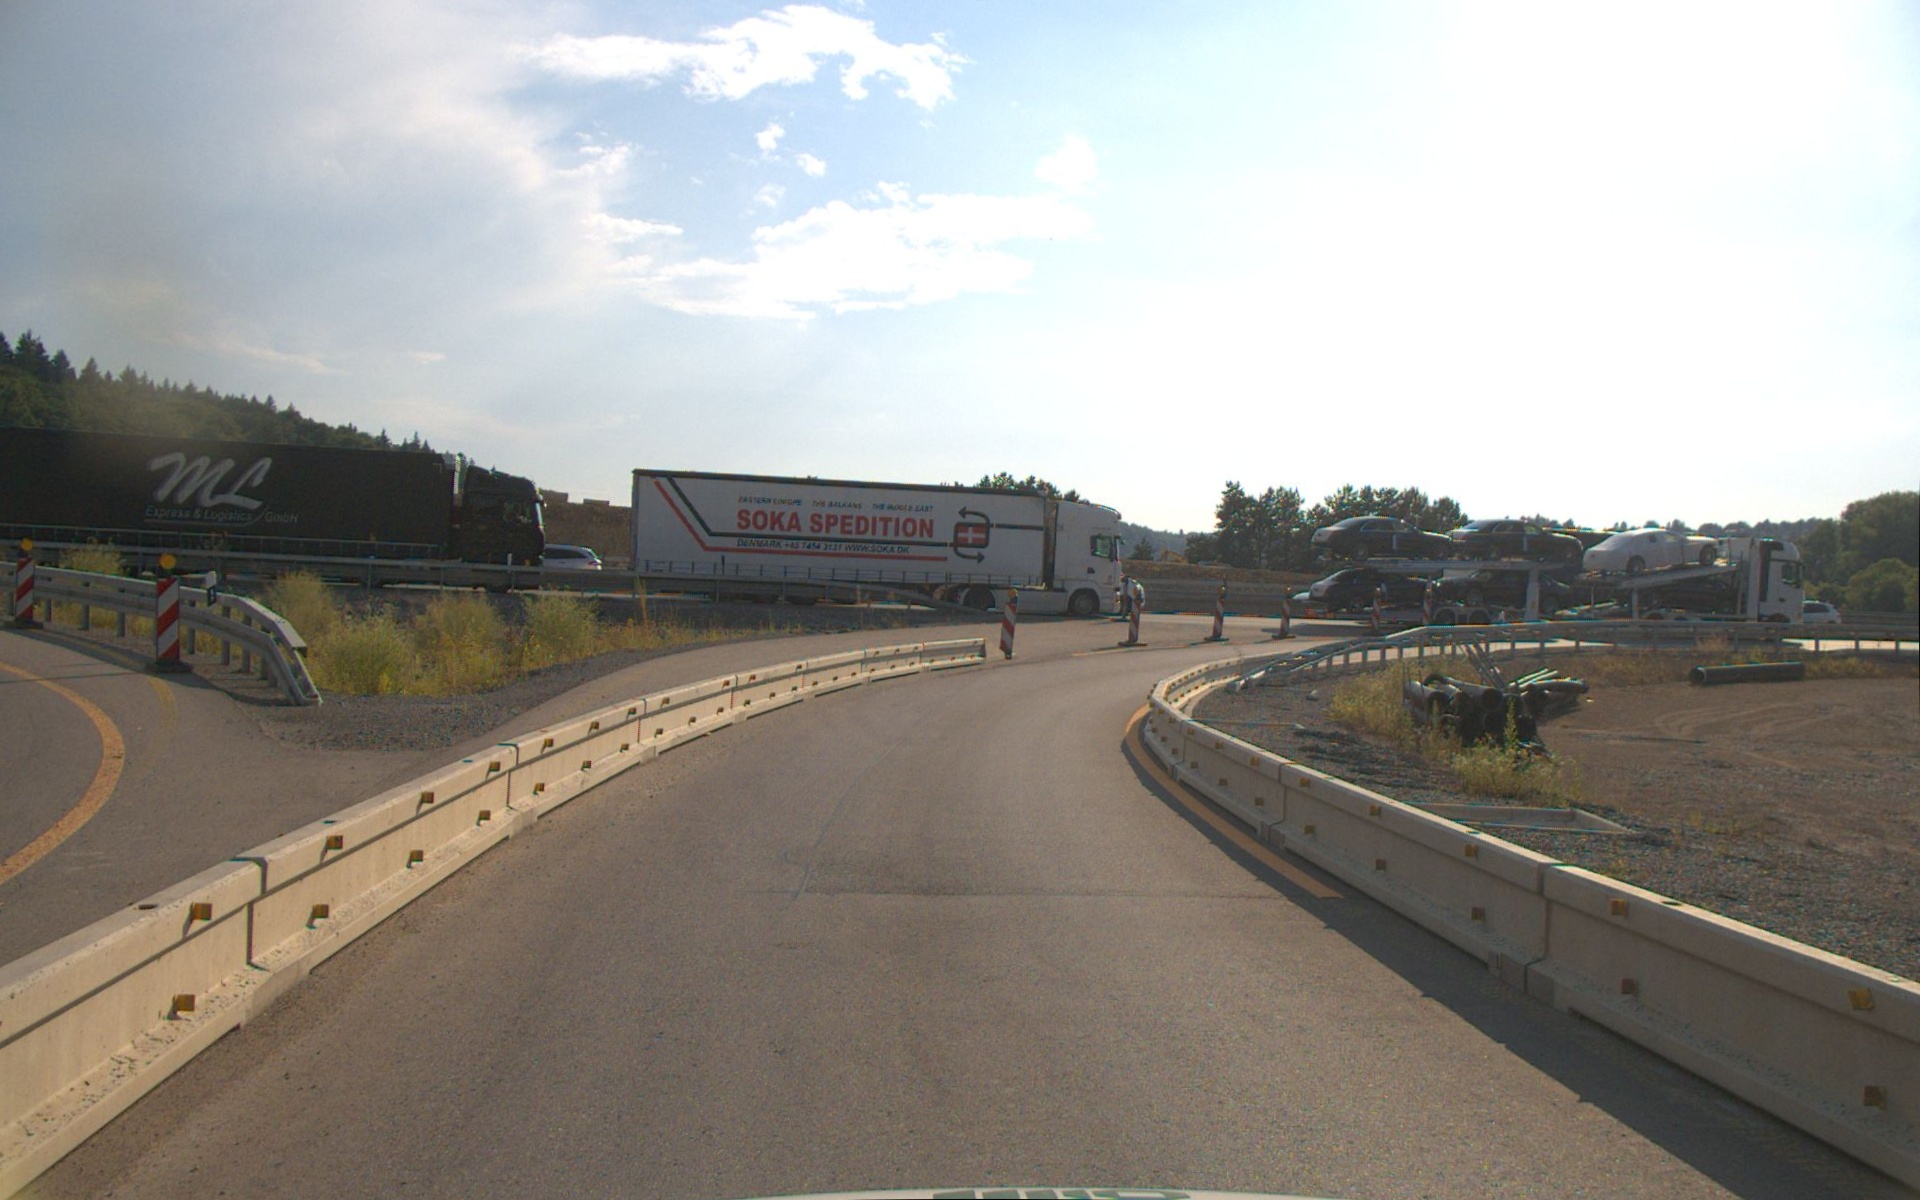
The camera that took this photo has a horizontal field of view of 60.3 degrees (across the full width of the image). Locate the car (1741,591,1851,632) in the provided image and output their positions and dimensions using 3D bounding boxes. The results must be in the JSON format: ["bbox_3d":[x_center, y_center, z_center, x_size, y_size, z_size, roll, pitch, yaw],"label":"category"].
[{"bbox_3d":[36.425,0.493,72.060,4.152,1.526,1.657,2,3,-14],"label":"car"}]

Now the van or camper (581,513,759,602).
[{"bbox_3d":[-9.885,-1.433,56.330,5.783,2.665,1.994,3,1,-14],"label":"van or camper"}]

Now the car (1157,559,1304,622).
[{"bbox_3d":[9.958,-0.349,61.058,4.879,2.015,2.029,2,3,-14],"label":"car"}]

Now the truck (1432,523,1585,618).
[{"bbox_3d":[23.992,-1.267,72.457,5.574,3.792,2.995,3,-1,-14],"label":"truck"}]

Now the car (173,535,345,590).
[{"bbox_3d":[-23.089,-1.258,54.673,4.879,1.526,2.029,2,3,-14],"label":"car"}]

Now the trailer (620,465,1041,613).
[{"bbox_3d":[-4.167,-1.903,54.063,13.362,3.945,2.479,3,1,-15],"label":"trailer"}]

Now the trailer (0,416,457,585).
[{"bbox_3d":[-22.021,-2.875,48.996,13.366,4.132,2.478,3,1,-16],"label":"trailer"}]

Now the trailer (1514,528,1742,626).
[{"bbox_3d":[29.862,-0.993,73.970,9.376,3.817,3.006,3,-1,-14],"label":"trailer"}]

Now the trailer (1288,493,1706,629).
[{"bbox_3d":[19.776,-1.359,60.661,15.433,4.065,2.856,3,1,-15],"label":"trailer"}]

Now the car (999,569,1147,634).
[{"bbox_3d":[4.065,0.051,59.734,4.879,2.015,2.029,2,3,-14],"label":"car"}]

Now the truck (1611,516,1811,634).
[{"bbox_3d":[28.576,-0.940,63.015,6.493,4.065,2.847,3,1,-15],"label":"truck"}]

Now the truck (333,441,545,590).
[{"bbox_3d":[-15.919,-2.540,50.862,5.895,4.130,2.478,3,1,-16],"label":"truck"}]

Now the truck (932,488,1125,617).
[{"bbox_3d":[2.298,-1.588,55.879,5.893,3.945,2.479,3,1,-15],"label":"truck"}]
